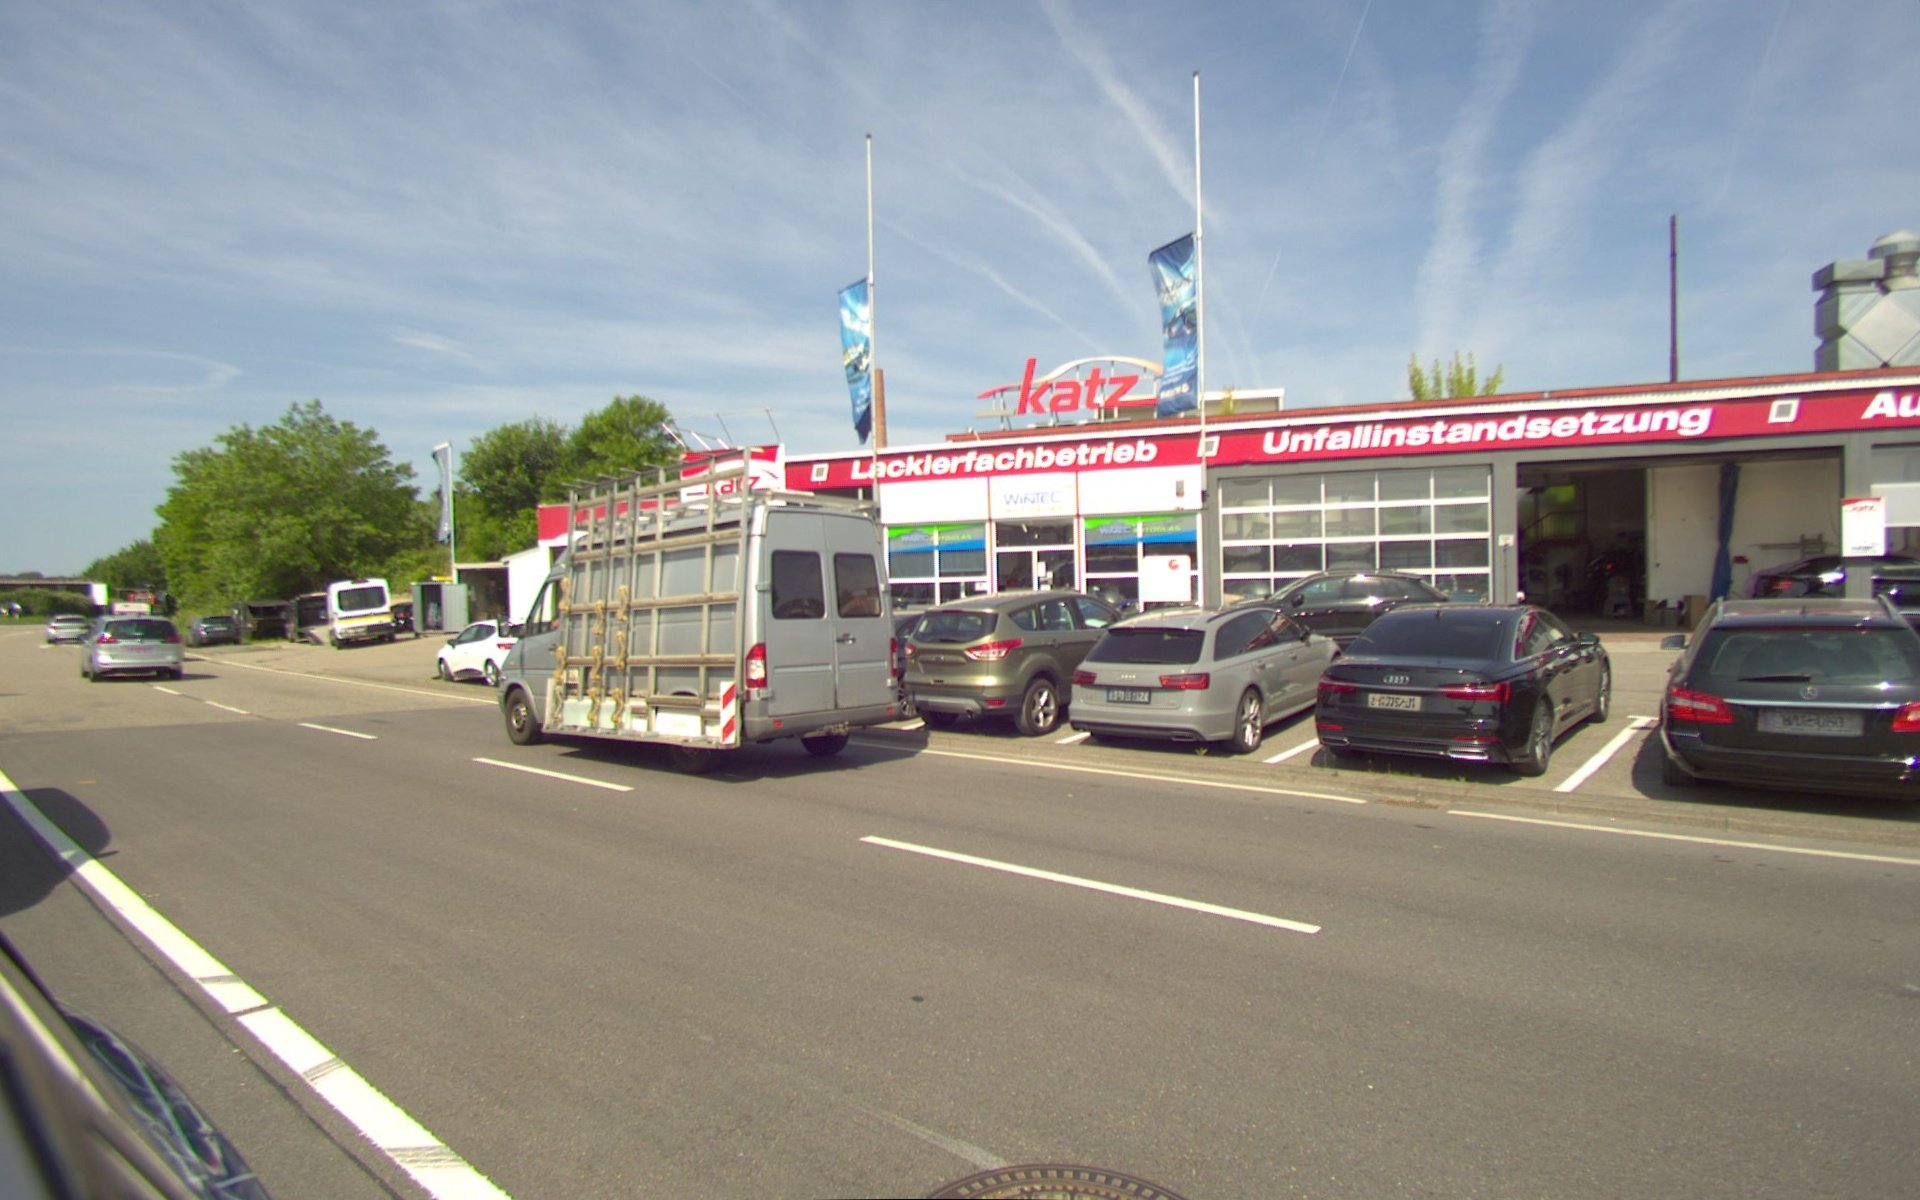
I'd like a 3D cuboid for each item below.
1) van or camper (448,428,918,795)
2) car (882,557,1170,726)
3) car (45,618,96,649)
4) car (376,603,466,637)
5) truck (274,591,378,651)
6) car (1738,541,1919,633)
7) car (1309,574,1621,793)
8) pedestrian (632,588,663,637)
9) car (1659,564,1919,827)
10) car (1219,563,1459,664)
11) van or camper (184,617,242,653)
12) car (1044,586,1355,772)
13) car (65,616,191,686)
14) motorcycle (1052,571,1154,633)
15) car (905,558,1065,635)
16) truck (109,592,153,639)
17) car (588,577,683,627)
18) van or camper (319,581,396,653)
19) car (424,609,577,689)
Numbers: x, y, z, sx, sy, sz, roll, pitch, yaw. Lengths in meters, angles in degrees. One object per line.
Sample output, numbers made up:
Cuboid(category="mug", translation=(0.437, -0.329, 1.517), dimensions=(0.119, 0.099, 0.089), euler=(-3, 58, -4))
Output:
Cuboid(category="van or camper", translation=(-3.347, 0.151, 11.275), dimensions=(5.900, 3.079, 2.184), euler=(-1, -2, 42))
Cuboid(category="car", translation=(1.005, 0.417, 13.368), dimensions=(1.805, 1.729, 3.848), euler=(-1, 3, 40))
Cuboid(category="car", translation=(-47.185, 1.758, 53.667), dimensions=(1.887, 1.533, 4.786), euler=(0, -1, -43))
Cuboid(category="car", translation=(-26.025, 0.935, 49.002), dimensions=(1.725, 1.541, 3.649), euler=(-1, 0, 18))
Cuboid(category="truck", translation=(-29.143, 0.937, 46.295), dimensions=(2.304, 2.313, 8.812), euler=(-7, 4, -42))
Cuboid(category="car", translation=(17.749, -0.228, 19.573), dimensions=(3.997, 1.685, 1.893), euler=(-1, -1, 29))
Cuboid(category="car", translation=(5.225, 0.632, 10.146), dimensions=(1.797, 1.495, 4.256), euler=(-1, 3, 40))
Cuboid(category="pedestrian", translation=(-11.367, 0.442, 36.758), dimensions=(0.895, 1.775, 0.714), euler=(0, 1, 44))
Cuboid(category="car", translation=(7.211, 0.581, 8.606), dimensions=(1.770, 1.495, 4.417), euler=(-1, 3, 39))
Cuboid(category="car", translation=(7.087, 0.217, 19.357), dimensions=(4.090, 1.686, 1.819), euler=(0, 5, 16))
Cuboid(category="van or camper", translation=(-35.255, 1.630, 47.741), dimensions=(1.620, 1.536, 4.471), euler=(-2, 1, -44))
Cuboid(category="car", translation=(2.950, 0.740, 11.753), dimensions=(1.834, 1.495, 4.236), euler=(-1, 3, 39))
Cuboid(category="car", translation=(-21.516, 1.264, 26.129), dimensions=(4.179, 1.675, 1.889), euler=(-1, -2, 42))
Cuboid(category="motorcycle", translation=(3.030, 0.059, 21.466), dimensions=(2.040, 1.271, 0.767), euler=(-1, -1, 21))
Cuboid(category="car", translation=(0.659, -0.099, 25.764), dimensions=(3.728, 1.772, 1.696), euler=(-1, 3, 16))
Cuboid(category="truck", translation=(-78.386, 1.553, 95.779), dimensions=(2.918, 4.241, 10.667), euler=(2, -2, -38))
Cuboid(category="car", translation=(-12.966, 0.046, 40.620), dimensions=(1.726, 1.738, 3.649), euler=(-1, 3, 19))
Cuboid(category="van or camper", translation=(-24.035, 0.636, 40.241), dimensions=(2.126, 2.517, 5.965), euler=(-5, 2, -34))
Cuboid(category="car", translation=(-10.554, 1.052, 23.123), dimensions=(4.000, 1.630, 1.760), euler=(-1, 0, 43))
